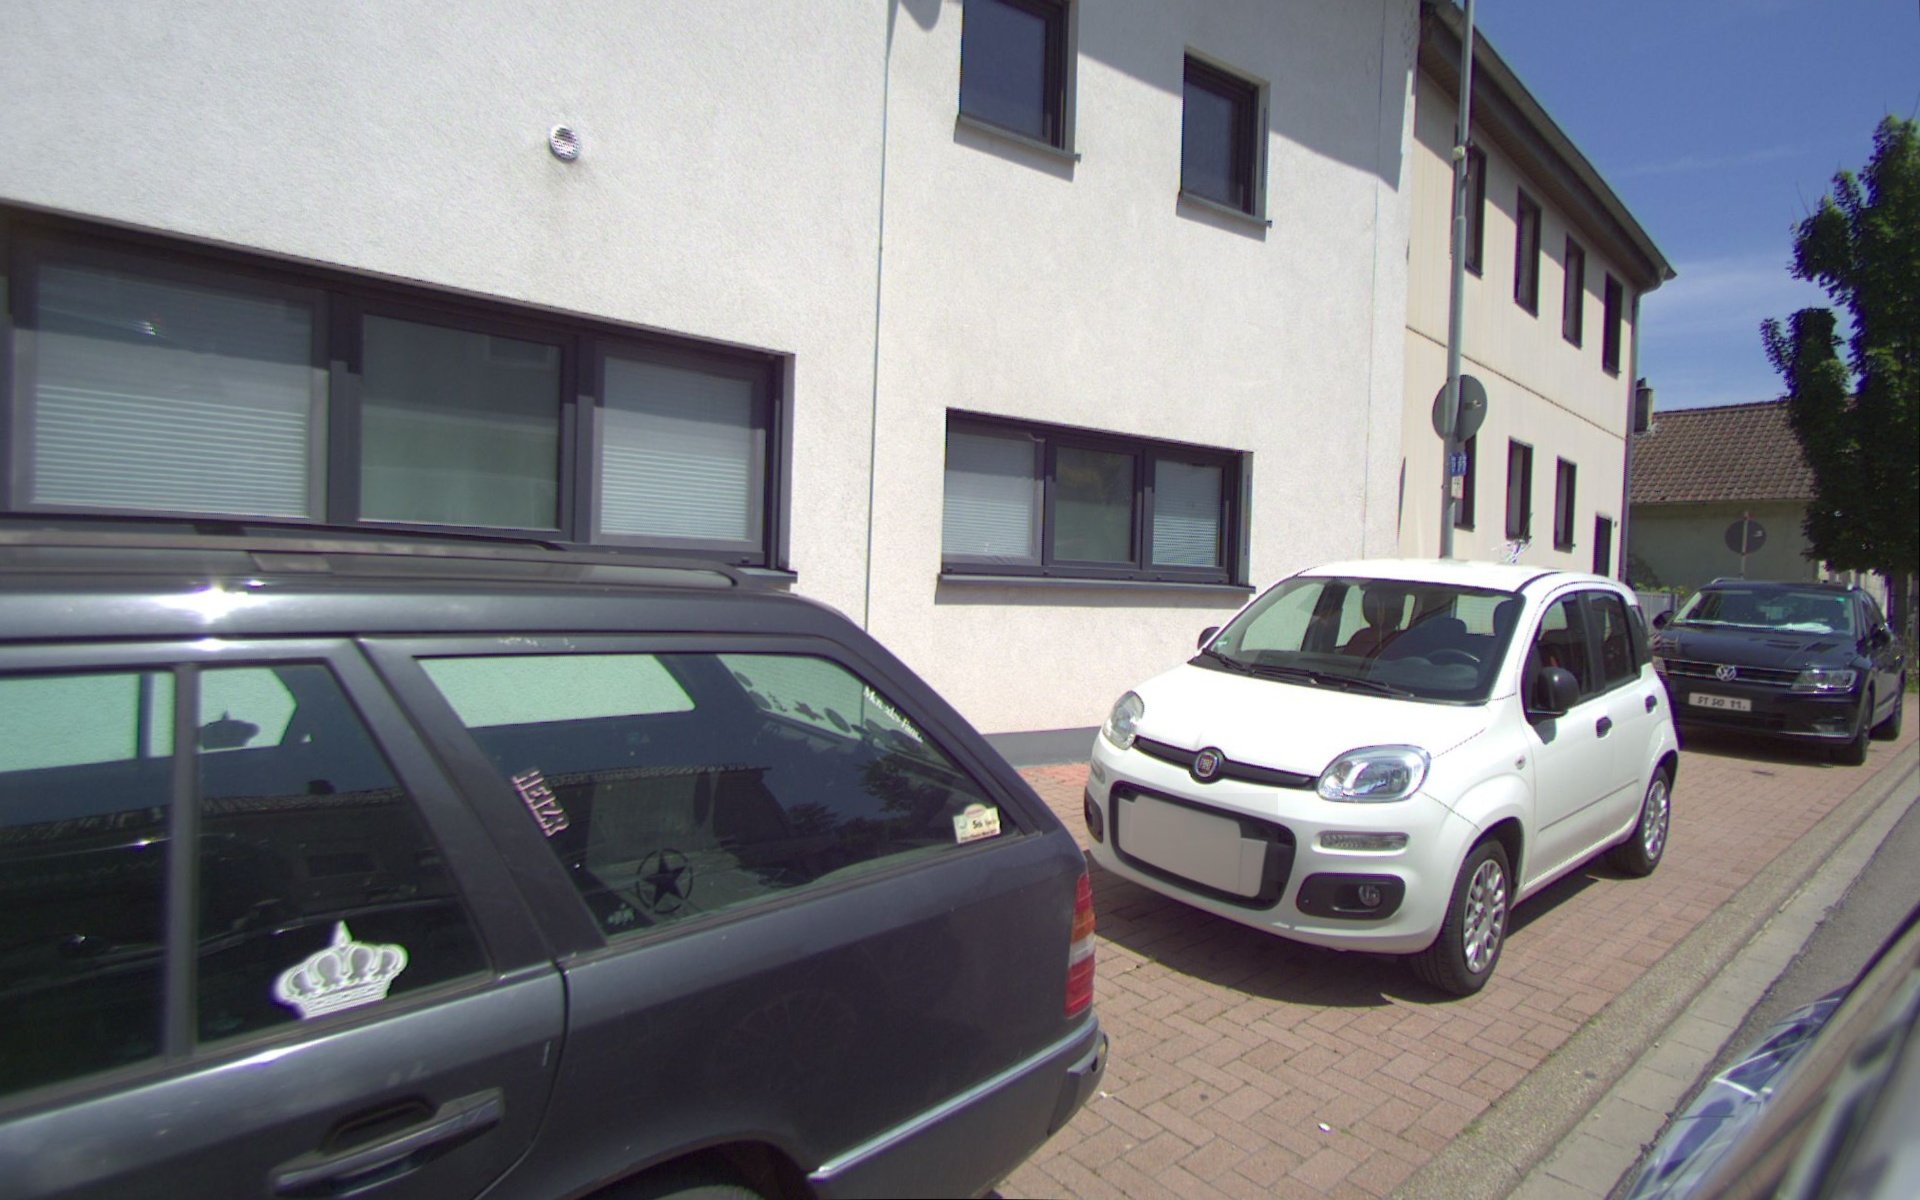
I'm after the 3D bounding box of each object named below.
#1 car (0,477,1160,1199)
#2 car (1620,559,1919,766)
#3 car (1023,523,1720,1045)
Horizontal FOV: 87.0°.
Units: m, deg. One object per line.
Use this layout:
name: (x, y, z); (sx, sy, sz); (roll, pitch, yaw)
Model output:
car: (-1.970, 0.563, 1.030); (4.753, 1.464, 1.704); (0, 4, -42)
car: (8.545, 0.514, 10.429); (4.470, 1.634, 1.805); (1, 3, -43)
car: (2.122, 0.511, 4.782); (3.483, 1.540, 1.610); (0, 4, -42)
